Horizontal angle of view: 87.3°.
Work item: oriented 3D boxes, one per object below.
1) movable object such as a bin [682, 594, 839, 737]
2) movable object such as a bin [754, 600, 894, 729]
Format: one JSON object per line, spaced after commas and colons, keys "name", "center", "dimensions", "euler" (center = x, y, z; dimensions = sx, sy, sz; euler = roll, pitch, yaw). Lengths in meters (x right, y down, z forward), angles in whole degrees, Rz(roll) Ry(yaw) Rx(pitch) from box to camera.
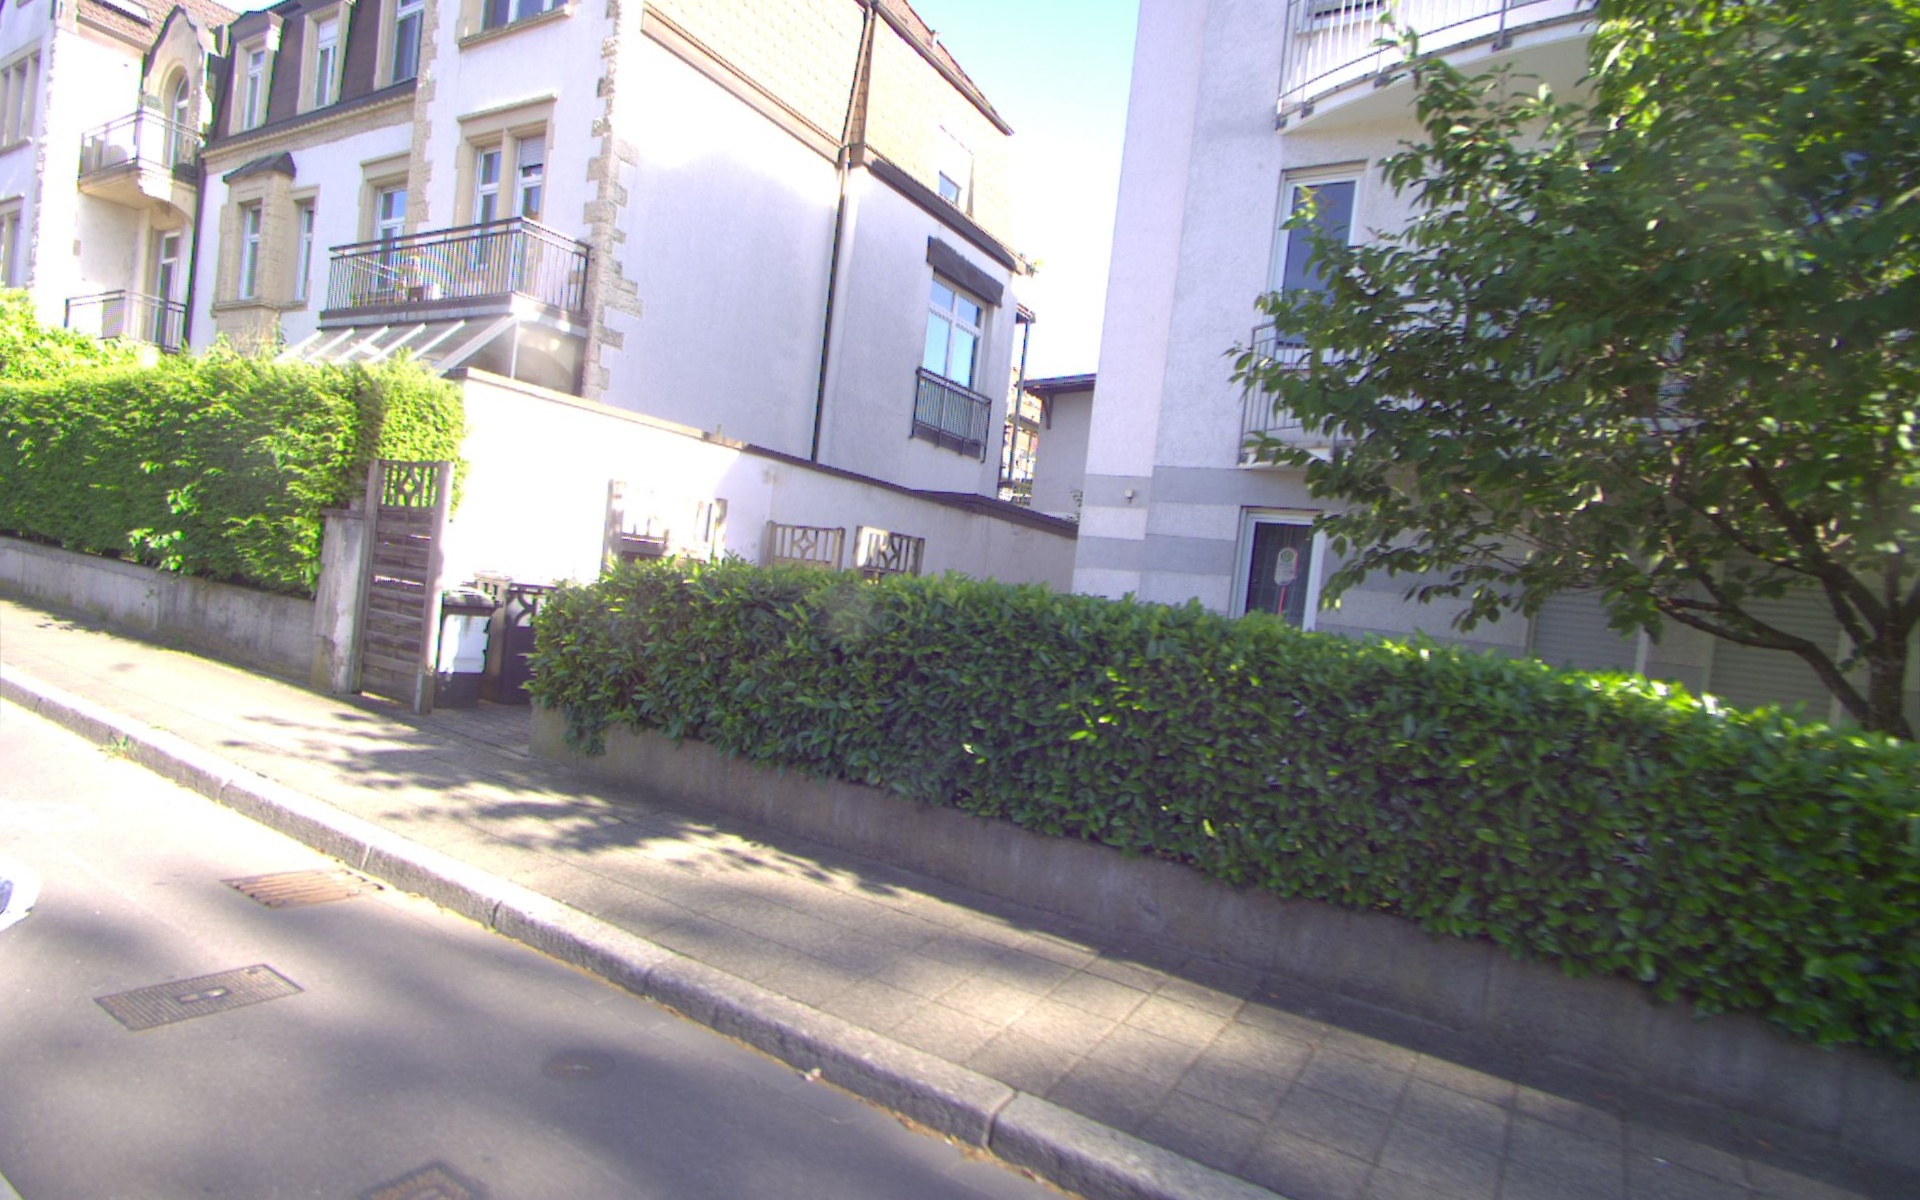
{"name": "movable object such as a bin", "center": [-1.726, 0.565, 8.784], "dimensions": [0.800, 1.097, 0.972], "euler": [7, 0, 32]}
{"name": "movable object such as a bin", "center": [-1.294, 0.613, 9.685], "dimensions": [0.800, 1.097, 0.972], "euler": [7, 0, 32]}
